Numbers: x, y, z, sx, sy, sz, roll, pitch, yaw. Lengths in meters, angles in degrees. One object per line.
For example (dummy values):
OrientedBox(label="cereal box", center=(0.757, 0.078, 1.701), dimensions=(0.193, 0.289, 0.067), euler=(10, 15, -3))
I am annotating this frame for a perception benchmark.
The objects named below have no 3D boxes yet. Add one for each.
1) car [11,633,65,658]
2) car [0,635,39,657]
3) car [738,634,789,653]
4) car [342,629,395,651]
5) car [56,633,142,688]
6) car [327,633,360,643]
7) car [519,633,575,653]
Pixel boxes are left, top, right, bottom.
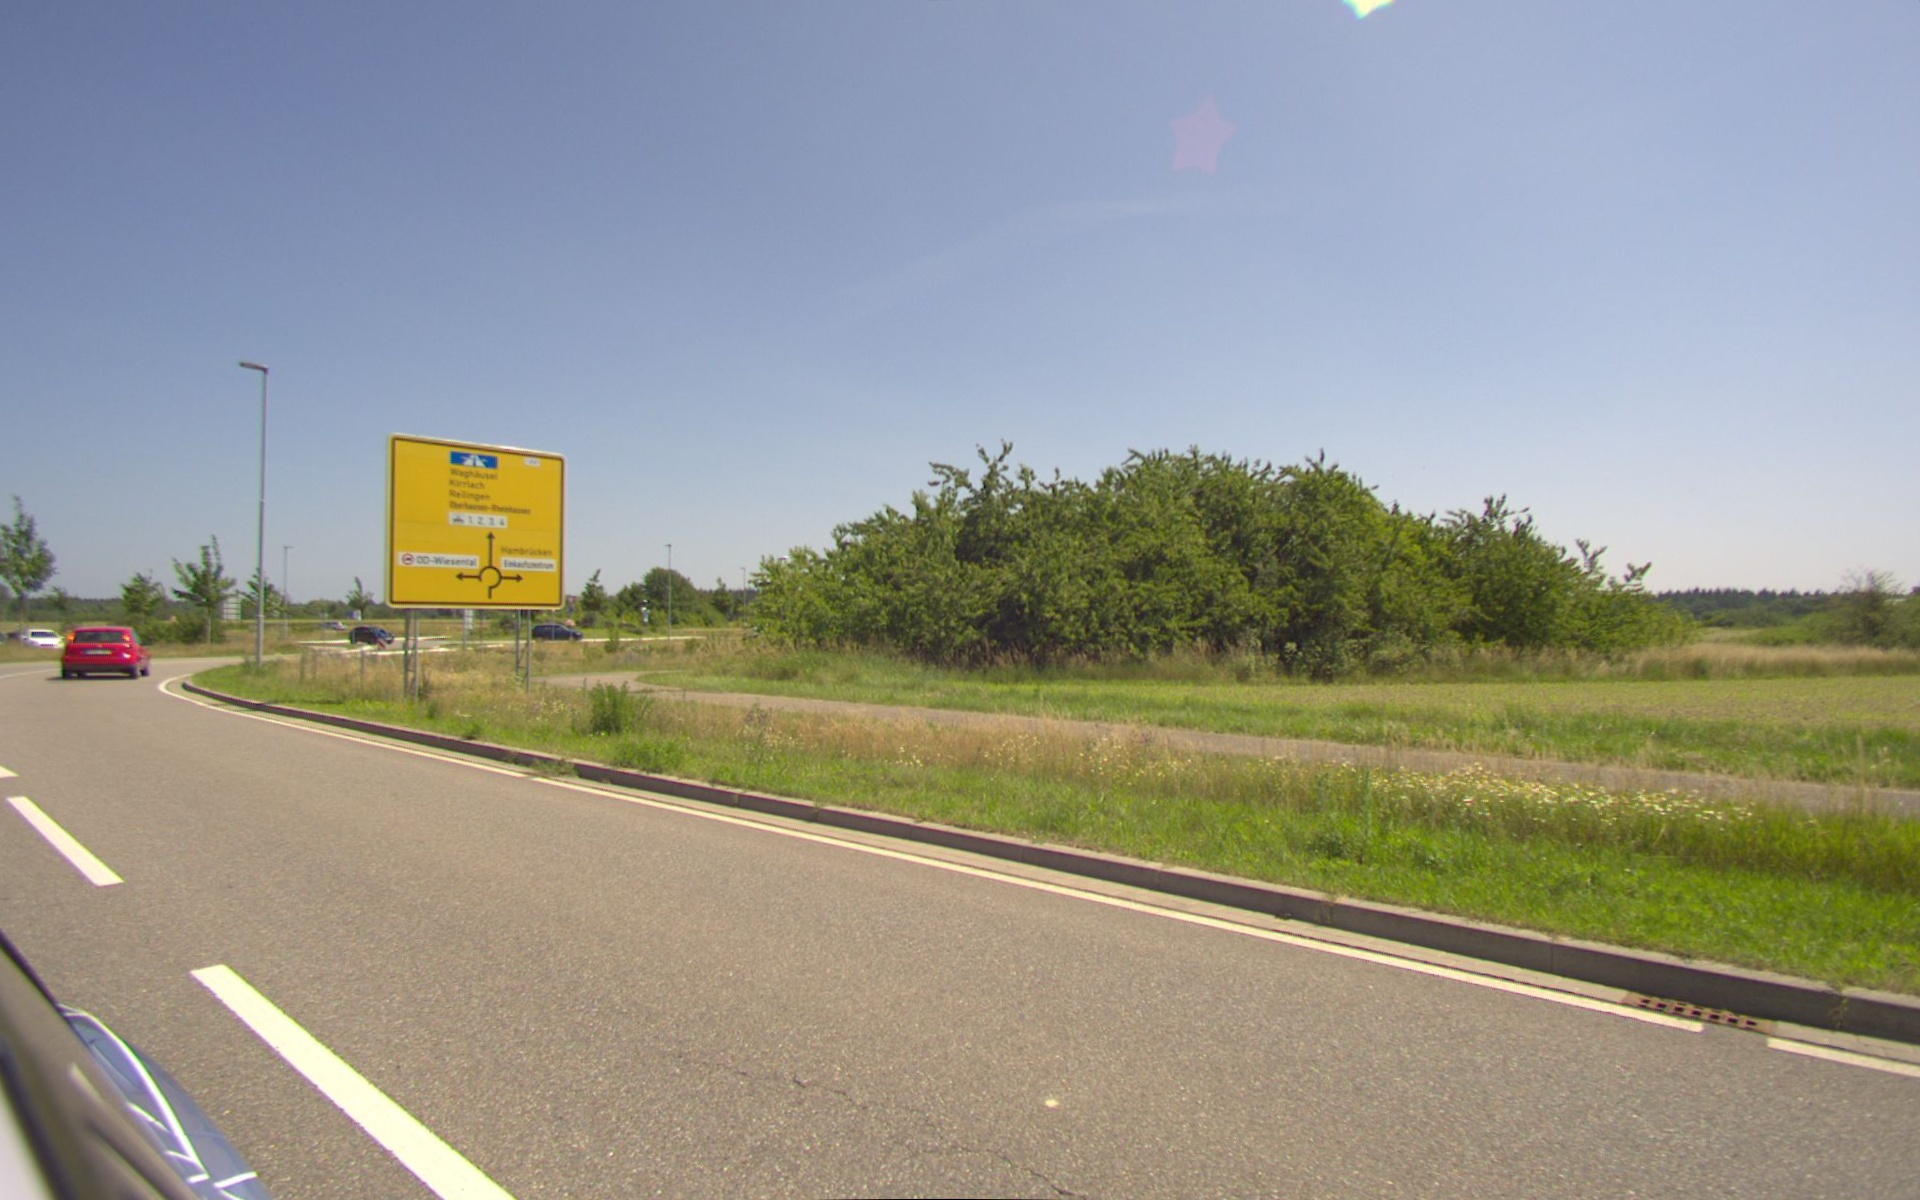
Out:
OrientedBox(label="car", center=(-55.135, 2.704, 60.515), dimensions=(3.995, 1.438, 1.725), euler=(-1, -2, 38))
OrientedBox(label="car", center=(-62.585, 3.013, 66.779), dimensions=(3.989, 1.321, 1.727), euler=(-1, -2, 34))
OrientedBox(label="car", center=(-17.631, 3.895, 90.771), dimensions=(4.445, 1.573, 1.874), euler=(0, -1, -14))
OrientedBox(label="car", center=(-52.178, 3.527, 89.204), dimensions=(4.496, 1.836, 1.853), euler=(0, -1, 26))
OrientedBox(label="car", center=(-24.130, 1.668, 28.459), dimensions=(1.634, 1.444, 3.743), euler=(3, -3, -38))
OrientedBox(label="car", center=(-88.829, 5.484, 145.760), dimensions=(3.970, 1.497, 1.987), euler=(-1, -2, 20))
OrientedBox(label="car", center=(-35.200, 3.655, 86.320), dimensions=(4.084, 1.573, 1.725), euler=(0, -1, -10))
